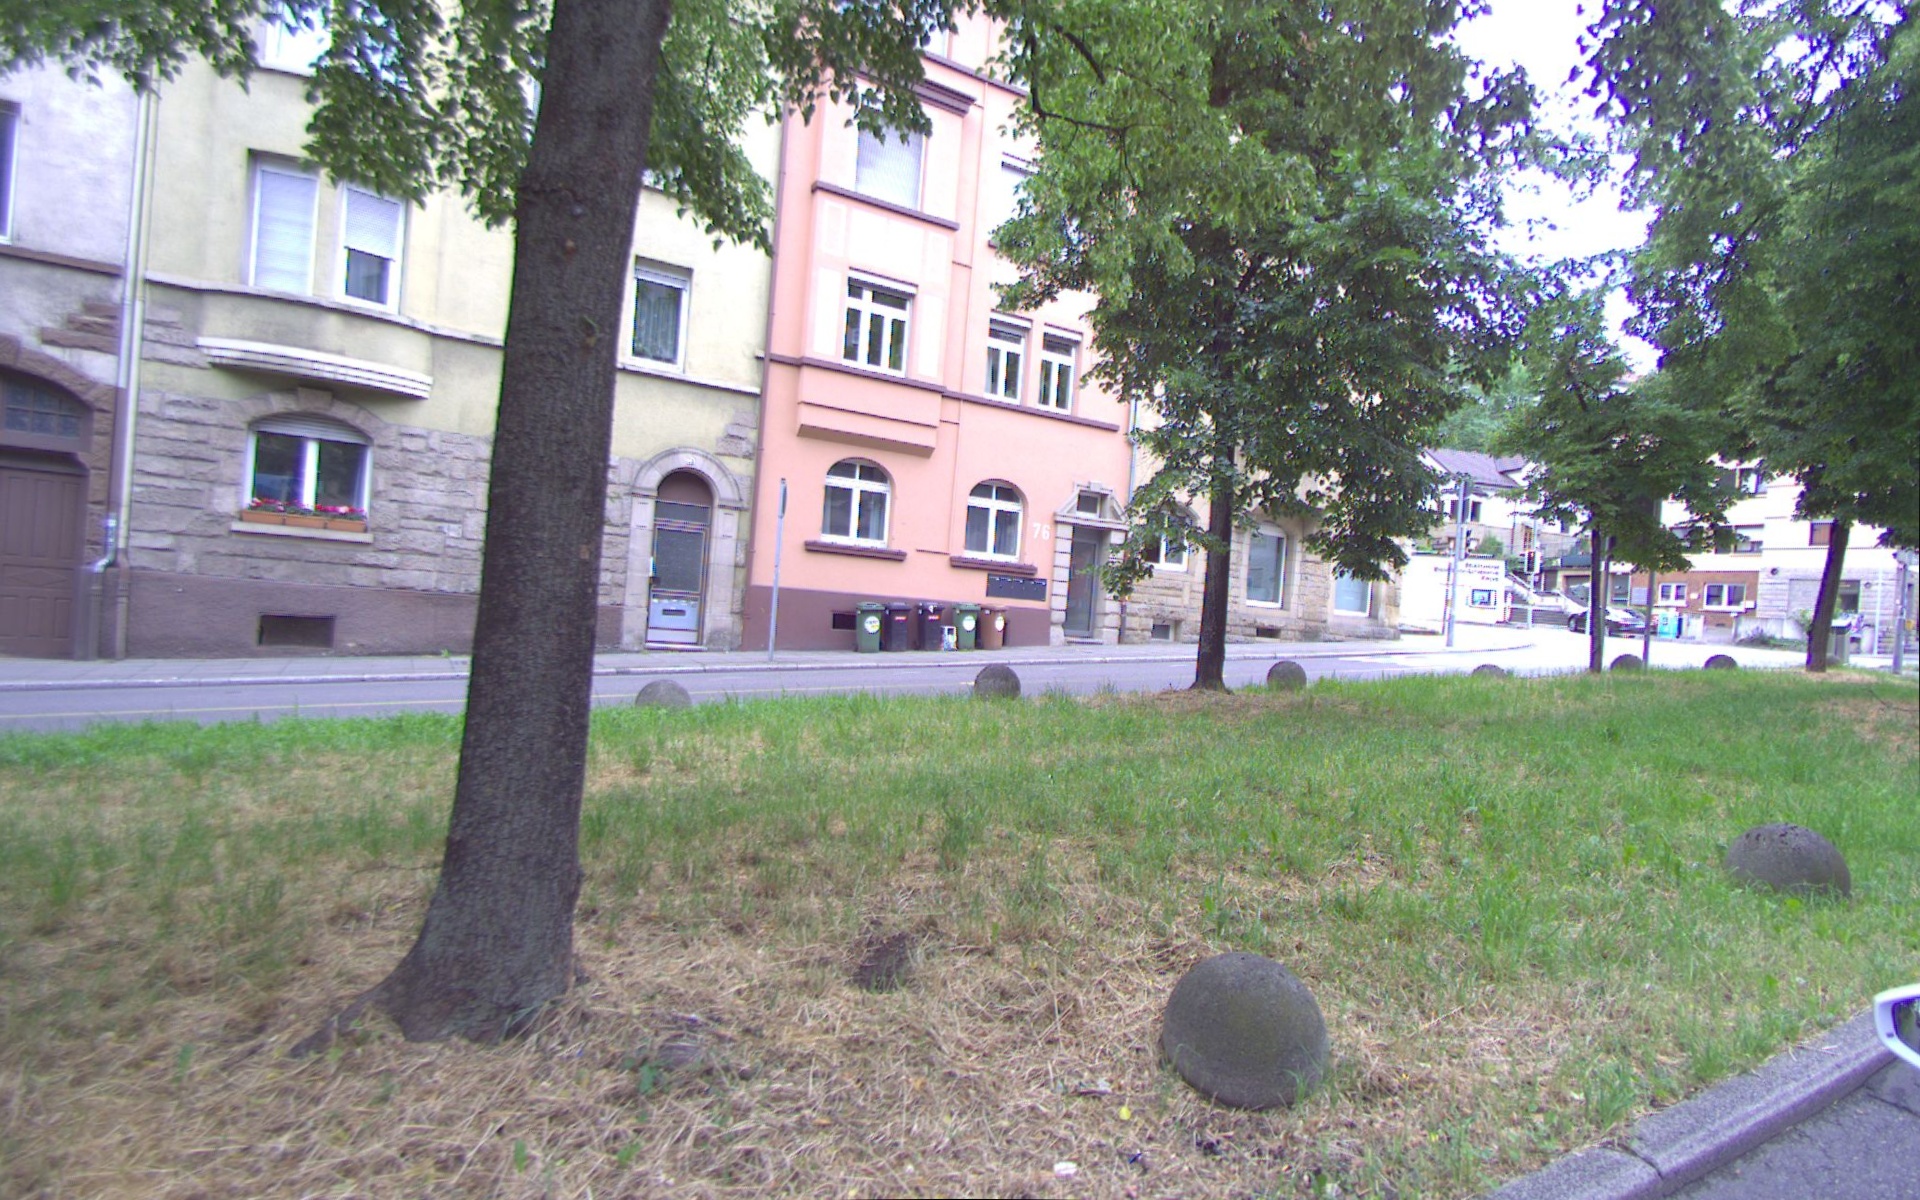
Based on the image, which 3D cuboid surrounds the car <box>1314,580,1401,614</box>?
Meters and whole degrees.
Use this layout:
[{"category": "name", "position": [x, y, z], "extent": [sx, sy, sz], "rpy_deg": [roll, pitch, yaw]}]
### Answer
[{"category": "car", "position": [20.015, -0.152, 50.740], "extent": [3.920, 1.530, 1.800], "rpy_deg": [3, 2, 17]}]

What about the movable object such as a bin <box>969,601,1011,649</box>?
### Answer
[{"category": "movable object such as a bin", "position": [0.607, 0.502, 20.483], "extent": [0.595, 0.916, 0.605], "rpy_deg": [1, 3, -34]}]

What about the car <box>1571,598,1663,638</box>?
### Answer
[{"category": "car", "position": [31.163, 0.829, 47.763], "extent": [1.845, 1.687, 4.001], "rpy_deg": [3, 0, 4]}]

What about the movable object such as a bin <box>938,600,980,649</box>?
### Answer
[{"category": "movable object such as a bin", "position": [-0.024, 0.486, 20.131], "extent": [0.595, 0.916, 0.605], "rpy_deg": [1, 3, -34]}]

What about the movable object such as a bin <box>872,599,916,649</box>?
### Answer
[{"category": "movable object such as a bin", "position": [-1.271, 0.450, 19.383], "extent": [0.595, 0.916, 0.605], "rpy_deg": [1, 3, -34]}]

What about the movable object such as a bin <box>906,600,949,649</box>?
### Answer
[{"category": "movable object such as a bin", "position": [-0.634, 0.471, 19.718], "extent": [0.595, 0.916, 0.605], "rpy_deg": [1, 3, -34]}]

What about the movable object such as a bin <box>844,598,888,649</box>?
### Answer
[{"category": "movable object such as a bin", "position": [-1.774, 0.440, 19.005], "extent": [0.595, 0.916, 0.605], "rpy_deg": [1, 3, -34]}]
